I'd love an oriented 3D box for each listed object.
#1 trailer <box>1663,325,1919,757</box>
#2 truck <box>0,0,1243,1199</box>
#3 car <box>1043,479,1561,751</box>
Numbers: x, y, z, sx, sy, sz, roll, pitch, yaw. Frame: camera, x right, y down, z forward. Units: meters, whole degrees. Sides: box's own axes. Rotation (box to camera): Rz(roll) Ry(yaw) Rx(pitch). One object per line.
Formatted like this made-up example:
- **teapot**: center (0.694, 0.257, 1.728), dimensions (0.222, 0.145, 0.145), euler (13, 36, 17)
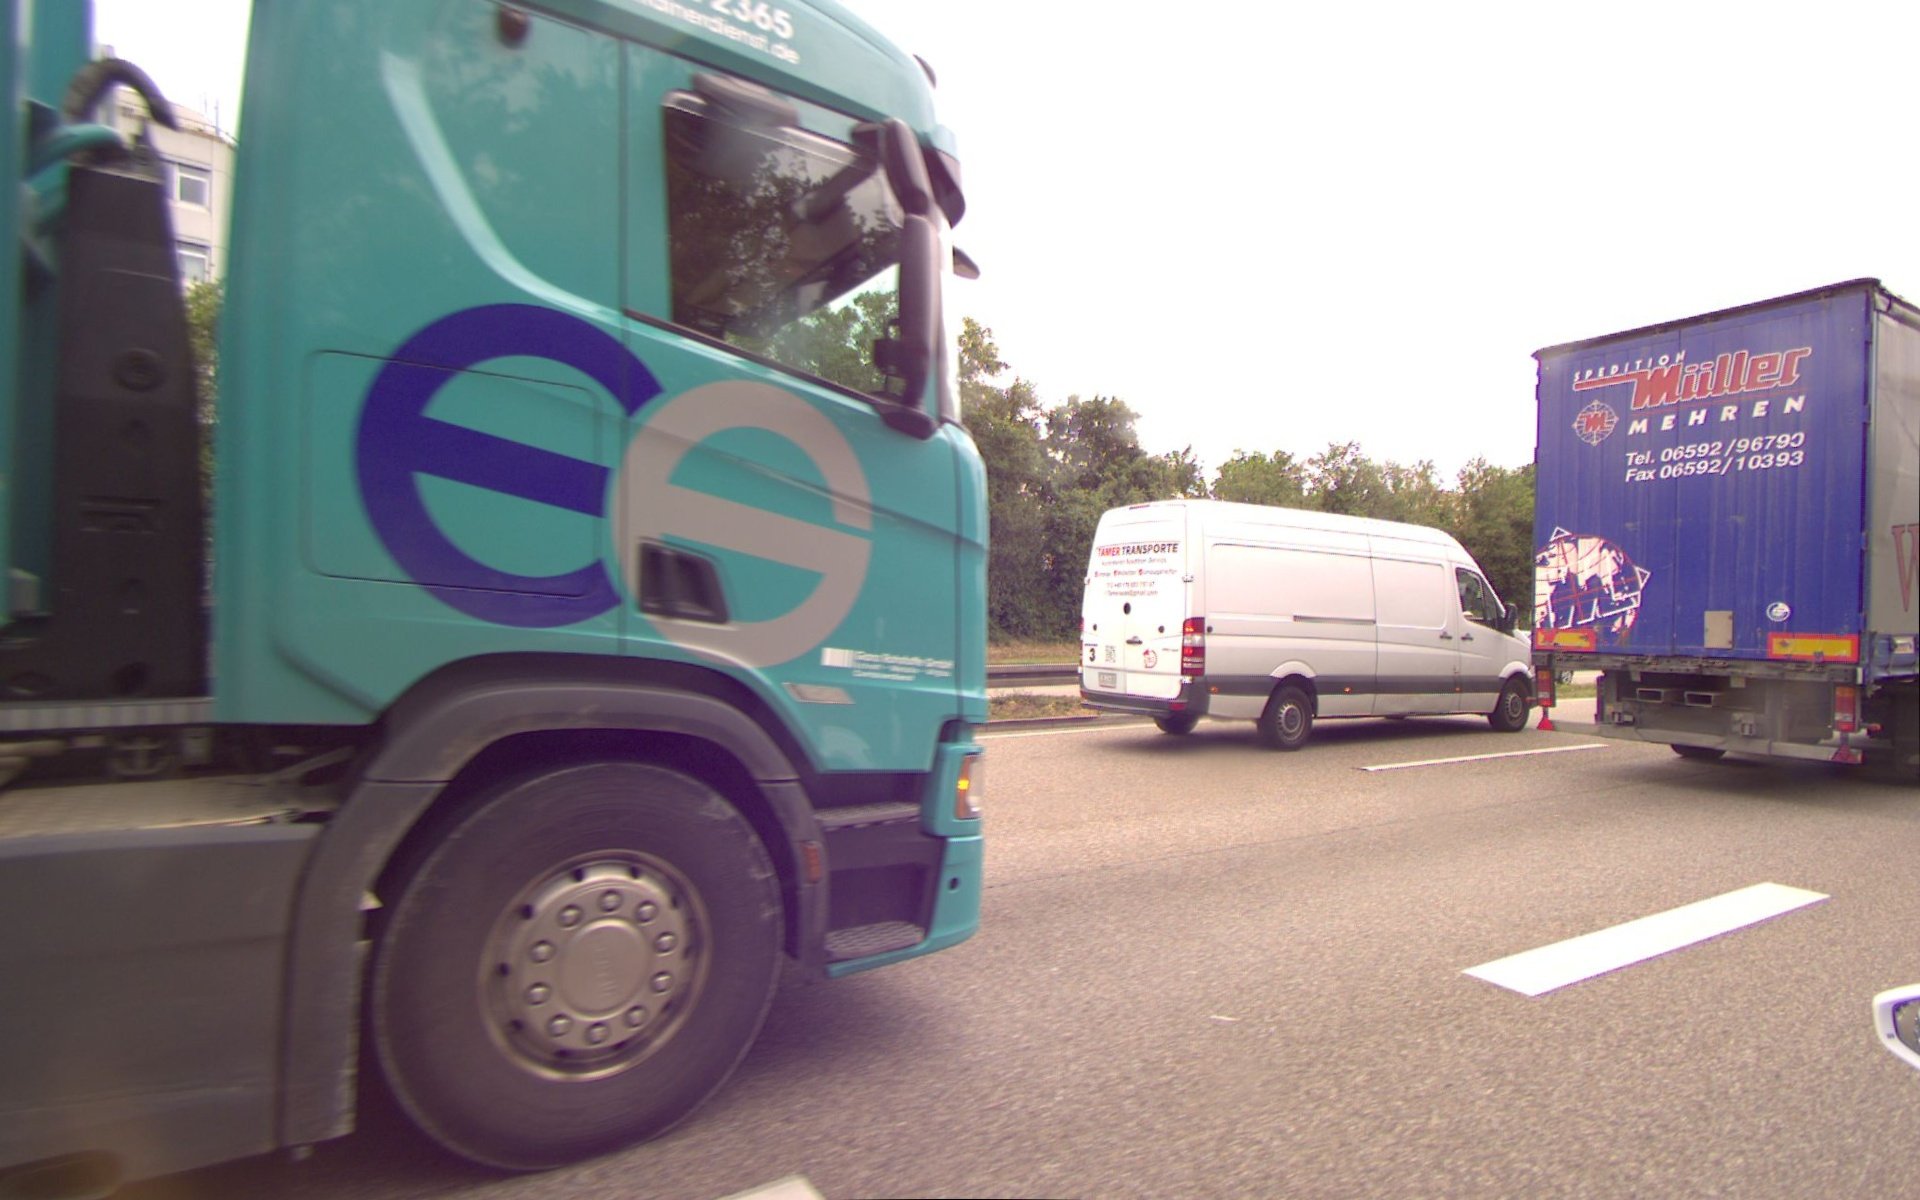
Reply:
- **trailer**: center (14.326, -0.394, 13.584), dimensions (13.309, 4.076, 2.613), euler (2, 0, -31)
- **truck**: center (-4.397, -0.716, 1.868), dimensions (11.210, 3.847, 2.912), euler (1, -1, -34)
- **car**: center (4.411, 0.216, 12.362), dimensions (6.721, 2.612, 2.210), euler (2, 0, -31)
